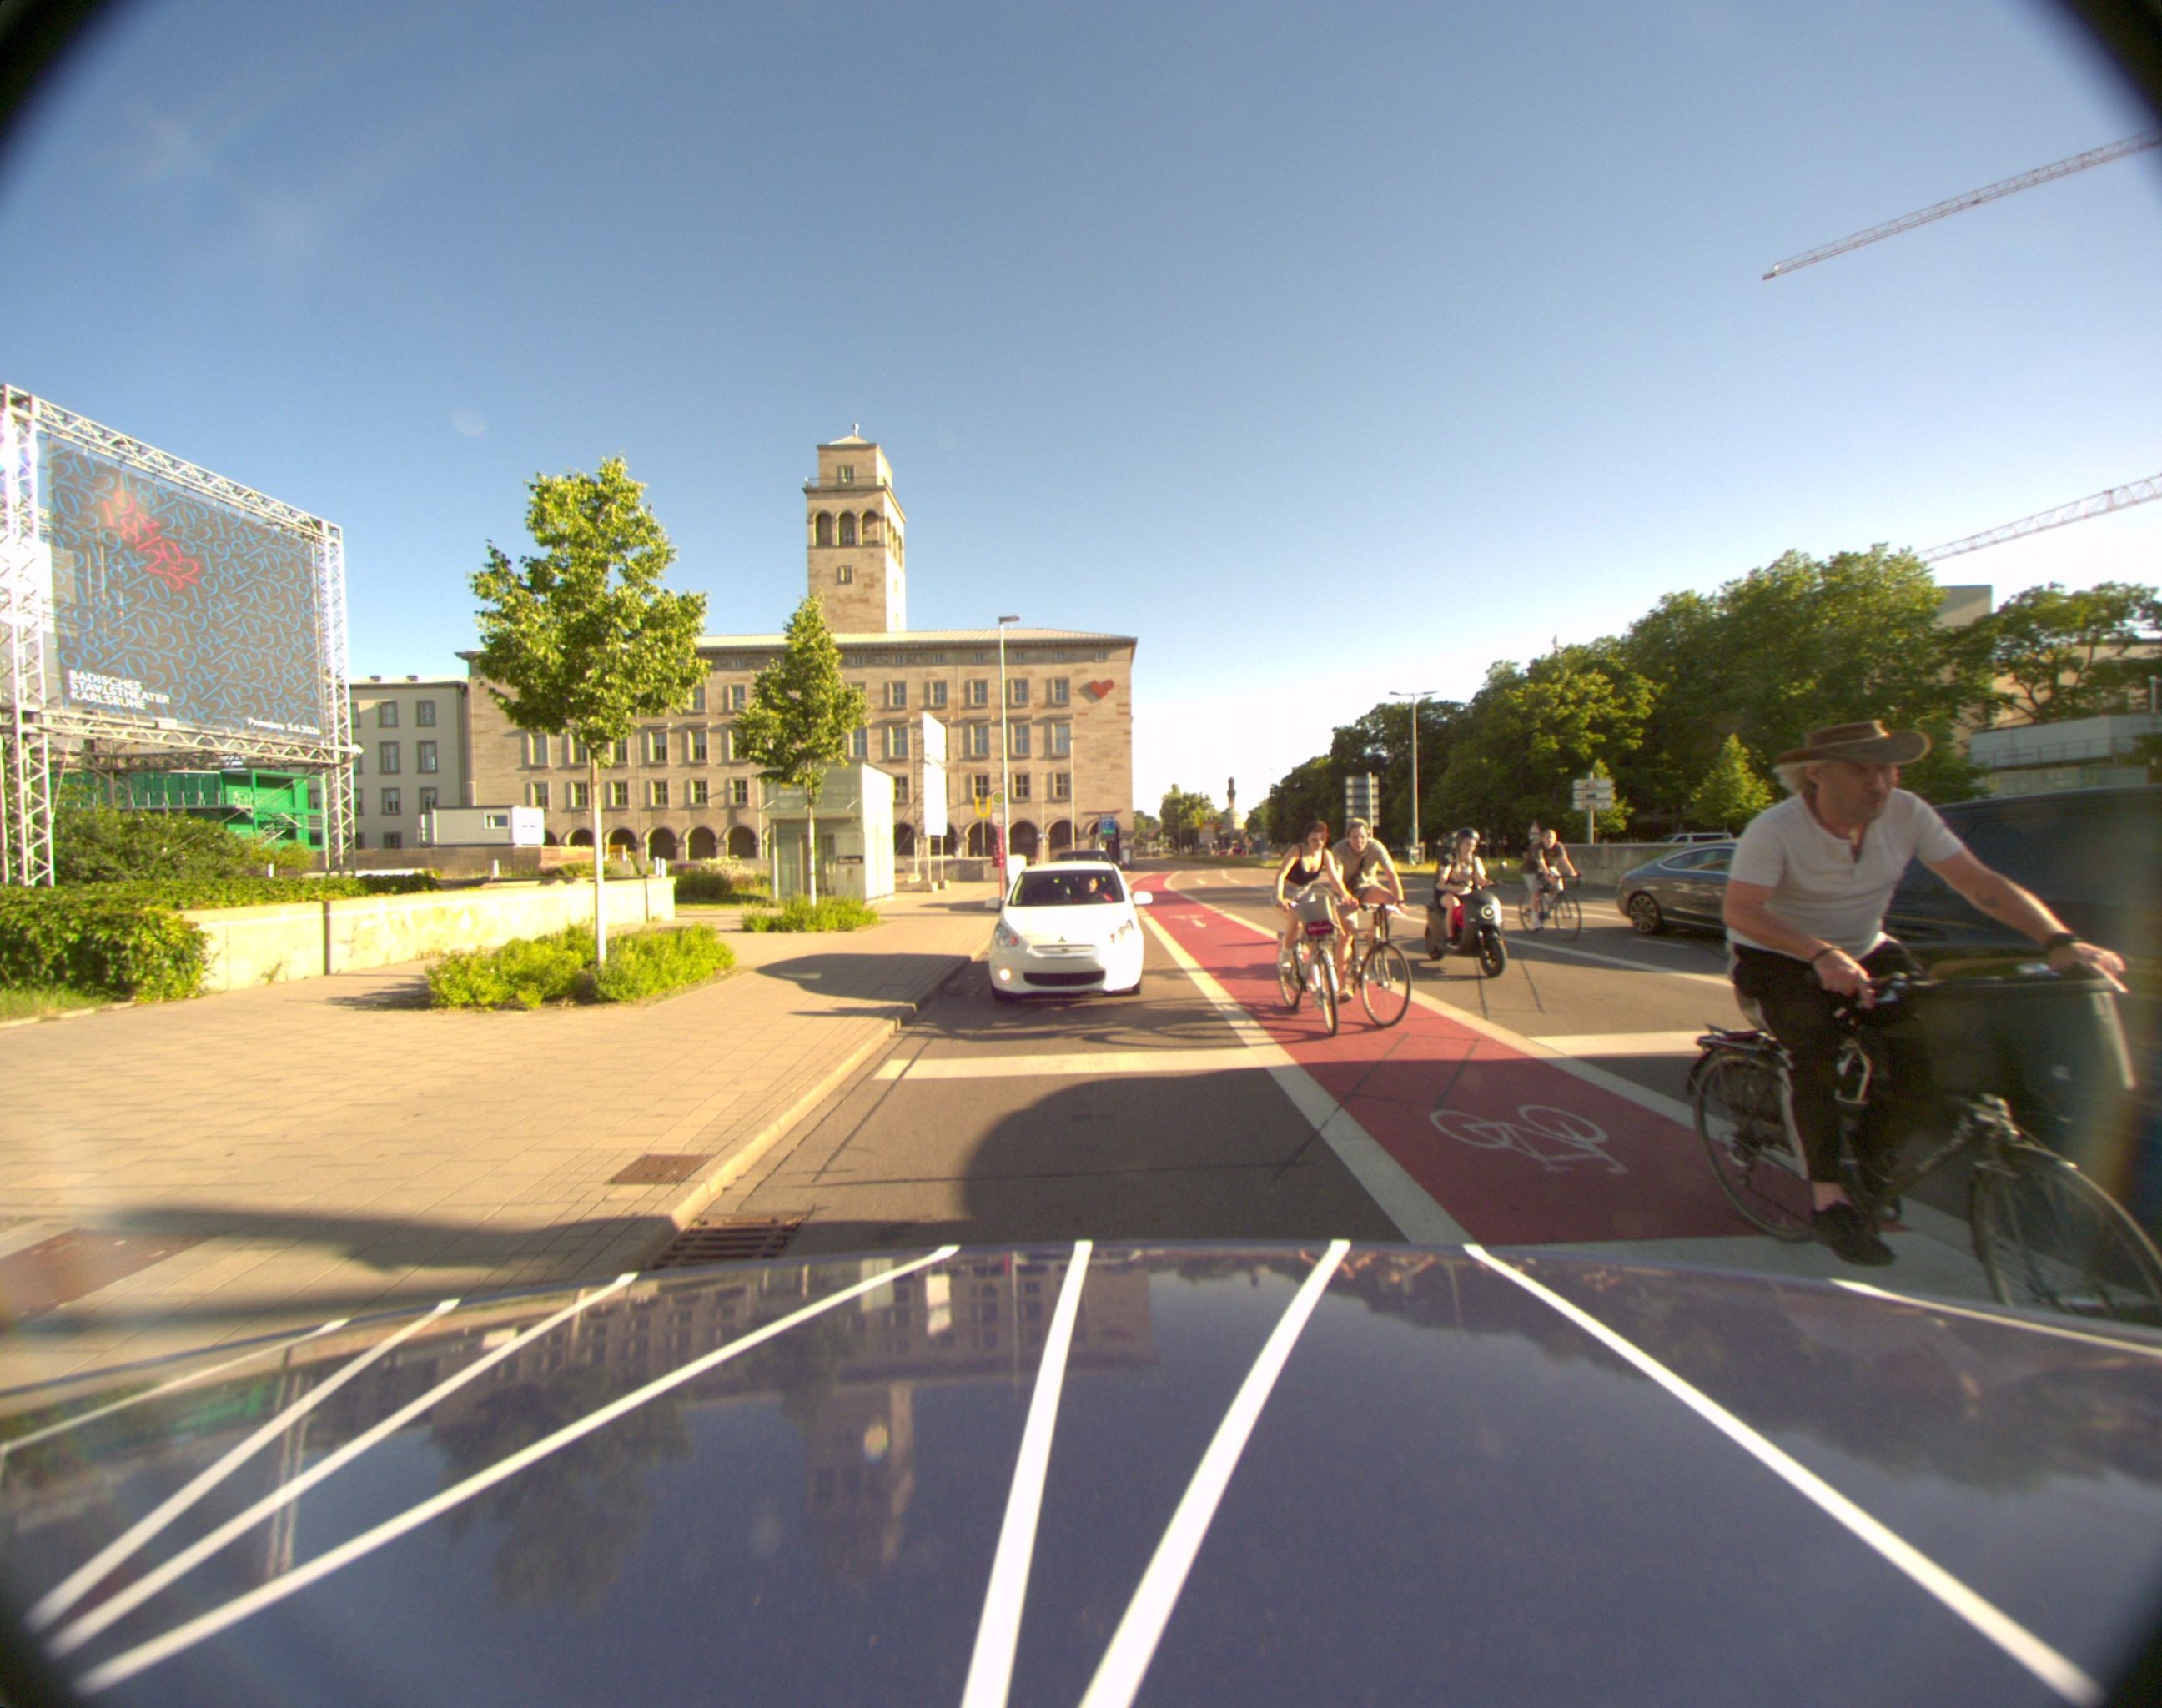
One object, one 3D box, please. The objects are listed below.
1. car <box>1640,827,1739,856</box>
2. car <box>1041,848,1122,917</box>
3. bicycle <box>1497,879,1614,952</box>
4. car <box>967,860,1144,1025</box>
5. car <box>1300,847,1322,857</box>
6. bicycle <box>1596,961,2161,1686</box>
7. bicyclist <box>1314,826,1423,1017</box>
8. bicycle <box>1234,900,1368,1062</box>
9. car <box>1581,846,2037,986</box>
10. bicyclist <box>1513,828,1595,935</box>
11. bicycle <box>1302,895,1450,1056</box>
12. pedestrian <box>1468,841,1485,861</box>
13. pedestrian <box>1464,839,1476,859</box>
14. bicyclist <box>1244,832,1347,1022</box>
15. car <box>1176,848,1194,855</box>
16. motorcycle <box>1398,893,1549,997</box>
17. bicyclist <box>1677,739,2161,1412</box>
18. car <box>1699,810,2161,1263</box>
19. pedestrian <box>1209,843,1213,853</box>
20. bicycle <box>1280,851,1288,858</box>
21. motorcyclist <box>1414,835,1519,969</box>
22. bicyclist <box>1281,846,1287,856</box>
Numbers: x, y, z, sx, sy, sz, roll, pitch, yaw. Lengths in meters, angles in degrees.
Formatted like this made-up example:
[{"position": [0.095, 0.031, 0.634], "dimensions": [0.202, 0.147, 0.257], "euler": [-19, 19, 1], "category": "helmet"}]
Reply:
[{"position": [43.710, -0.860, 54.653], "dimensions": [5.325, 1.880, 2.001], "euler": [-1, 0, 4], "category": "car"}, {"position": [0.063, 0.696, 21.374], "dimensions": [1.998, 1.652, 4.792], "euler": [-1, 1, 1], "category": "car"}, {"position": [7.037, 0.882, 11.385], "dimensions": [0.624, 0.903, 1.911], "euler": [-2, 1, 3], "category": "bicycle"}, {"position": [-0.169, 0.884, 9.404], "dimensions": [1.660, 1.463, 3.969], "euler": [-3, 1, 2], "category": "car"}, {"position": [28.364, -0.253, 93.911], "dimensions": [1.618, 1.126, 3.770], "euler": [-2, 1, 1], "category": "car"}, {"position": [2.452, 1.004, 2.283], "dimensions": [0.708, 1.088, 1.801], "euler": [-1, 1, 5], "category": "bicycle"}, {"position": [2.516, 0.556, 6.729], "dimensions": [0.625, 1.566, 0.895], "euler": [-1, 1, 1], "category": "bicyclist"}, {"position": [1.843, 1.014, 6.626], "dimensions": [0.652, 1.088, 1.800], "euler": [-1, 1, 1], "category": "bicycle"}, {"position": [8.892, 0.615, 9.991], "dimensions": [1.775, 1.344, 4.526], "euler": [-2, 1, 3], "category": "car"}, {"position": [7.016, 0.390, 11.304], "dimensions": [0.624, 1.494, 0.938], "euler": [-2, 1, 3], "category": "bicyclist"}, {"position": [2.523, 0.981, 6.717], "dimensions": [0.625, 1.110, 1.816], "euler": [-1, 1, 1], "category": "bicycle"}, {"position": [35.151, -0.288, 67.561], "dimensions": [0.997, 1.773, 0.964], "euler": [-3, 1, 2], "category": "pedestrian"}, {"position": [33.983, -0.400, 66.396], "dimensions": [0.664, 1.716, 0.698], "euler": [-1, 1, 2], "category": "pedestrian"}, {"position": [1.833, 0.591, 6.593], "dimensions": [0.651, 1.534, 0.847], "euler": [-1, 1, 2], "category": "bicyclist"}, {"position": [23.029, -0.598, 168.489], "dimensions": [3.767, 1.443, 1.619], "euler": [-2, 1, 3], "category": "car"}, {"position": [4.545, 1.009, 8.986], "dimensions": [0.757, 0.963, 1.959], "euler": [-2, 1, 0], "category": "motorcycle"}, {"position": [2.432, 0.550, 2.274], "dimensions": [0.700, 1.660, 0.786], "euler": [-1, 1, 5], "category": "bicyclist"}, {"position": [5.028, 0.643, 2.401], "dimensions": [2.200, 1.652, 4.791], "euler": [-1, 1, -1], "category": "car"}, {"position": [27.660, -1.240, 161.591], "dimensions": [0.525, 2.002, 0.594], "euler": [-1, 1, -1], "category": "pedestrian"}, {"position": [26.531, 0.075, 99.350], "dimensions": [0.617, 0.800, 1.980], "euler": [-1, 1, 2], "category": "bicycle"}, {"position": [4.525, 0.536, 8.984], "dimensions": [0.757, 1.475, 0.881], "euler": [-2, 1, 0], "category": "motorcyclist"}, {"position": [26.519, -0.409, 99.336], "dimensions": [0.617, 1.359, 0.768], "euler": [-1, 1, 2], "category": "bicyclist"}]
